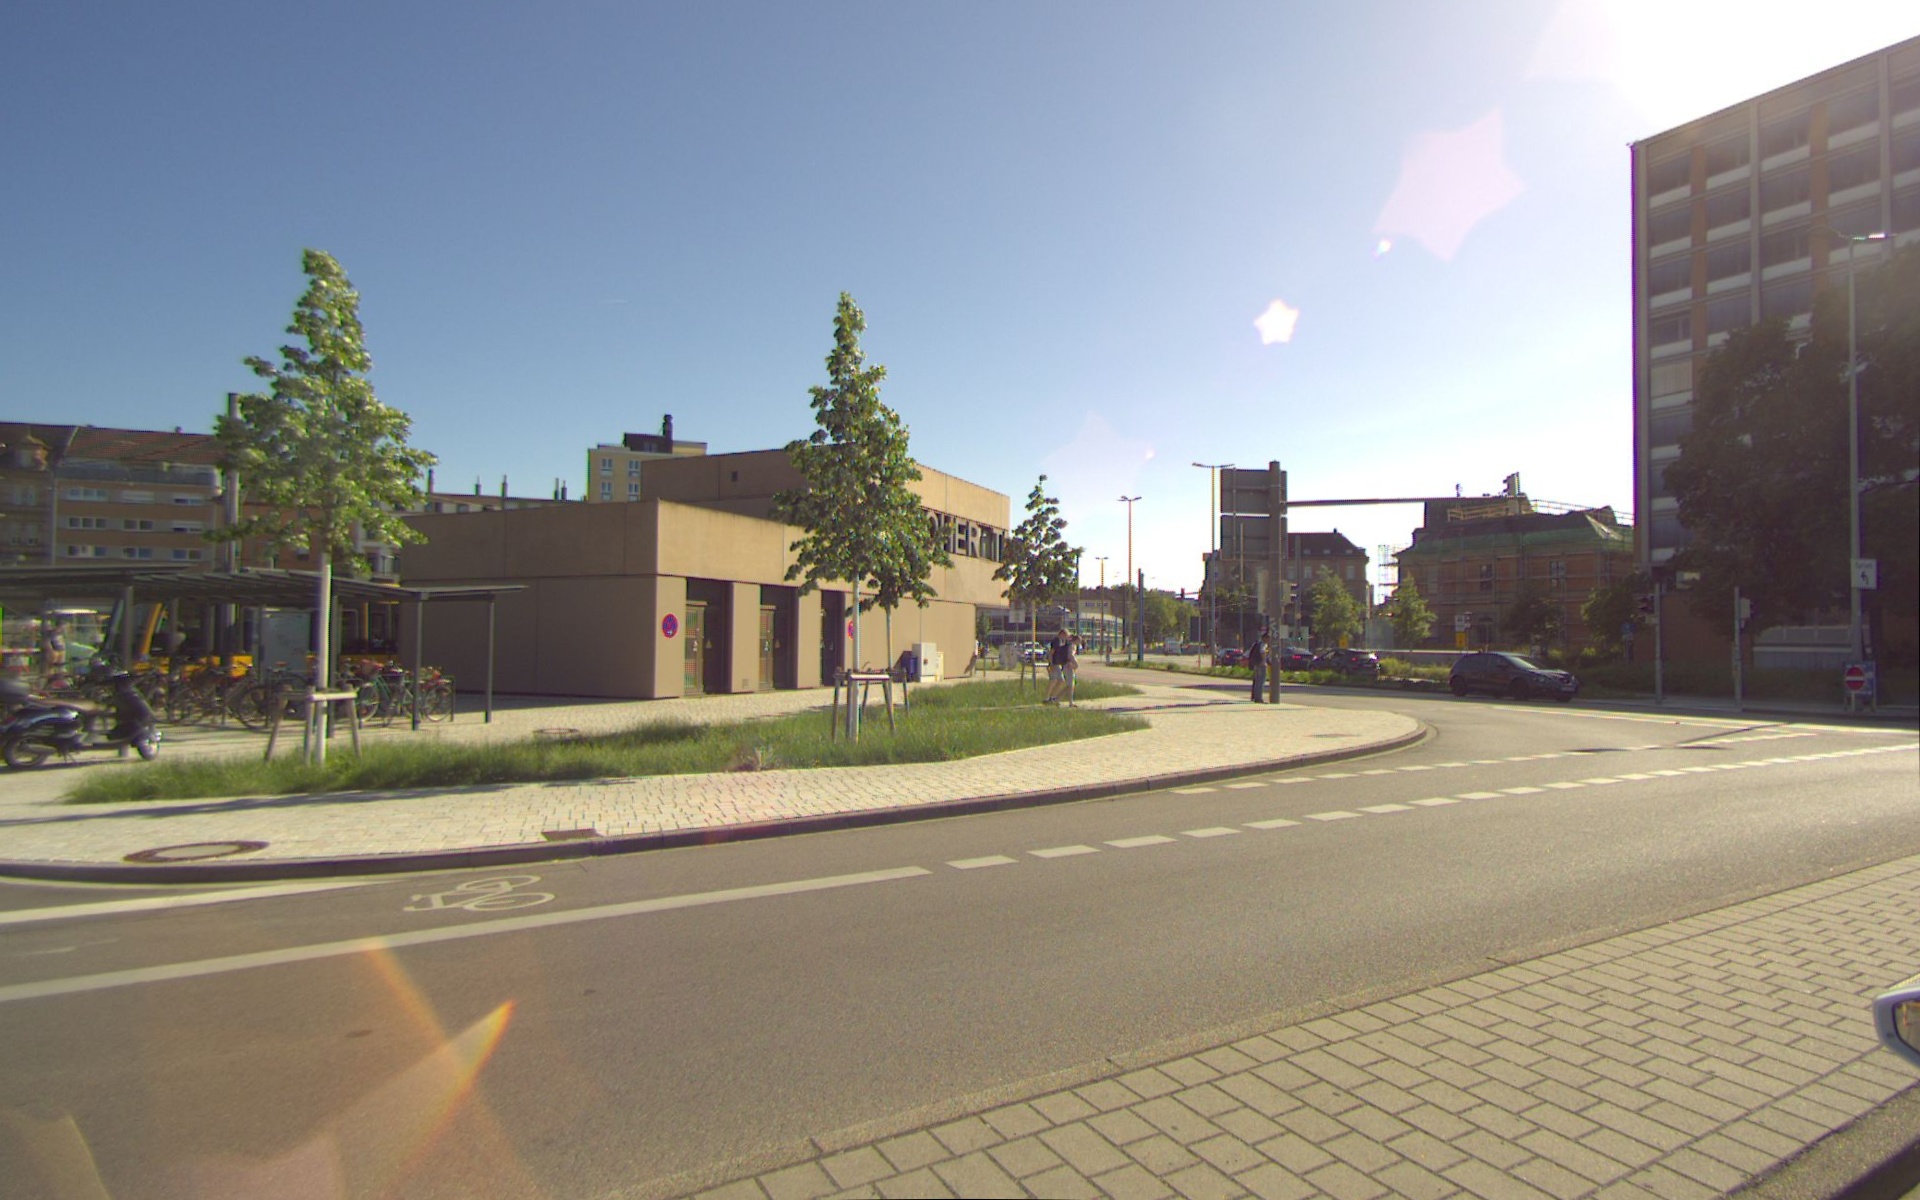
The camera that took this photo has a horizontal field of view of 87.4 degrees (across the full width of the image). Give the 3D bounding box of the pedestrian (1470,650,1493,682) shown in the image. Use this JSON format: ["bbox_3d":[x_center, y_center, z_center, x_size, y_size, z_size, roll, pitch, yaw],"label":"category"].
[{"bbox_3d":[33.239,4.189,64.008,0.996,2.040,0.825,1,-2,-6],"label":"pedestrian"}]

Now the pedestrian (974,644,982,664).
[{"bbox_3d":[1.836,5.595,103.685,0.708,2.040,0.717,0,-2,5],"label":"pedestrian"}]

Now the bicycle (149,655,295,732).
[{"bbox_3d":[-12.893,1.599,17.638,0.496,1.225,2.051,0,-2,26],"label":"bicycle"}]

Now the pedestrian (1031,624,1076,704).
[{"bbox_3d":[2.231,1.522,23.992,0.851,1.869,0.840,1,-2,-11],"label":"pedestrian"}]

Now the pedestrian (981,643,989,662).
[{"bbox_3d":[2.732,5.678,109.637,0.708,2.040,0.718,0,-2,10],"label":"pedestrian"}]

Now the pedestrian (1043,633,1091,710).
[{"bbox_3d":[2.469,1.636,23.266,1.004,1.727,0.839,0,-2,0],"label":"pedestrian"}]

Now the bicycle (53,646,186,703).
[{"bbox_3d":[-15.997,1.391,19.176,0.617,1.021,1.828,0,-2,27],"label":"bicycle"}]

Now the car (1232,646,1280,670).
[{"bbox_3d":[20.283,3.940,69.004,1.962,1.538,3.818,1,-2,-4],"label":"car"}]

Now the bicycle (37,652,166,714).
[{"bbox_3d":[-16.916,1.610,19.839,0.617,1.146,1.828,0,-2,27],"label":"bicycle"}]

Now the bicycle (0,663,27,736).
[{"bbox_3d":[-15.277,1.515,15.021,0.617,1.094,1.829,0,-2,25],"label":"bicycle"}]

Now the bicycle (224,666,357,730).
[{"bbox_3d":[-11.620,1.680,17.510,0.492,1.010,1.887,0,-2,31],"label":"bicycle"}]

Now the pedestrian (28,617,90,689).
[{"bbox_3d":[-26.267,1.539,29.298,0.854,2.040,1.012,0,-2,19],"label":"pedestrian"}]

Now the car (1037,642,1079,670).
[{"bbox_3d":[6.672,3.825,68.827,1.963,1.814,3.995,1,-2,-8],"label":"car"}]

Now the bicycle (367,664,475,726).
[{"bbox_3d":[-9.827,1.709,18.393,0.616,1.021,1.832,0,-2,16],"label":"bicycle"}]

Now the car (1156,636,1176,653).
[{"bbox_3d":[32.096,6.870,156.663,2.951,2.580,6.963,0,-2,11],"label":"car"}]

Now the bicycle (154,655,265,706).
[{"bbox_3d":[-16.262,1.733,21.814,0.617,1.021,1.829,0,-2,25],"label":"bicycle"}]

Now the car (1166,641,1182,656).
[{"bbox_3d":[30.093,6.811,141.338,2.030,2.040,5.019,0,-2,9],"label":"car"}]

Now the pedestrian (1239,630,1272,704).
[{"bbox_3d":[7.533,1.698,25.648,0.594,1.880,0.681,1,-2,-7],"label":"pedestrian"}]

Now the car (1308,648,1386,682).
[{"bbox_3d":[19.535,3.271,50.833,1.804,1.591,3.991,1,-2,-12],"label":"car"}]

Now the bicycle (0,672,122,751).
[{"bbox_3d":[-13.126,1.557,14.082,0.617,1.021,2.026,0,-2,25],"label":"bicycle"}]

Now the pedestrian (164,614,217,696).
[{"bbox_3d":[-18.072,1.291,23.606,0.738,1.880,0.709,1,-2,-19],"label":"pedestrian"}]

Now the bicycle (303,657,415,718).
[{"bbox_3d":[-11.751,1.687,19.698,0.617,1.107,1.829,0,-2,25],"label":"bicycle"}]

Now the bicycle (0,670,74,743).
[{"bbox_3d":[-14.110,1.549,14.522,0.617,1.021,1.829,0,-2,25],"label":"bicycle"}]

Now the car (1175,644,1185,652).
[{"bbox_3d":[45.352,9.934,207.189,2.024,1.458,4.061,0,-2,14],"label":"car"}]

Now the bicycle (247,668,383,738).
[{"bbox_3d":[-10.677,1.678,16.693,0.617,1.021,1.828,0,-2,27],"label":"bicycle"}]

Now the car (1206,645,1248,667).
[{"bbox_3d":[20.054,4.210,75.510,1.962,1.538,3.818,1,-2,-4],"label":"car"}]

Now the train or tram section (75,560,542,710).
[{"bbox_3d":[-18.686,1.070,30.606,2.702,3.648,12.318,0,-2,25],"label":"train or tram section"}]

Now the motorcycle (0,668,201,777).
[{"bbox_3d":[-10.925,1.478,12.485,0.599,1.173,2.360,0,-2,25],"label":"motorcycle"}]

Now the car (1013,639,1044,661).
[{"bbox_3d":[5.735,4.206,84.493,1.868,1.728,3.997,1,-2,-6],"label":"car"}]

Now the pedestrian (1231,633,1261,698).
[{"bbox_3d":[7.666,1.740,26.948,0.594,1.719,0.634,1,-2,-7],"label":"pedestrian"}]

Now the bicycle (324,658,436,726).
[{"bbox_3d":[-10.747,1.676,18.693,0.616,1.161,1.831,0,-2,18],"label":"bicycle"}]

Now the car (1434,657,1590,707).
[{"bbox_3d":[17.013,2.487,31.170,1.968,1.407,3.986,1,-3,-17],"label":"car"}]

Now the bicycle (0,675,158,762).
[{"bbox_3d":[-12.043,1.558,13.530,0.617,1.021,1.829,0,-2,25],"label":"bicycle"}]

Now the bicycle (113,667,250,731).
[{"bbox_3d":[-13.870,1.741,17.947,0.617,1.021,1.828,0,-2,27],"label":"bicycle"}]

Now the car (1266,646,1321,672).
[{"bbox_3d":[20.808,3.658,62.740,1.962,1.538,3.818,1,-2,-4],"label":"car"}]
